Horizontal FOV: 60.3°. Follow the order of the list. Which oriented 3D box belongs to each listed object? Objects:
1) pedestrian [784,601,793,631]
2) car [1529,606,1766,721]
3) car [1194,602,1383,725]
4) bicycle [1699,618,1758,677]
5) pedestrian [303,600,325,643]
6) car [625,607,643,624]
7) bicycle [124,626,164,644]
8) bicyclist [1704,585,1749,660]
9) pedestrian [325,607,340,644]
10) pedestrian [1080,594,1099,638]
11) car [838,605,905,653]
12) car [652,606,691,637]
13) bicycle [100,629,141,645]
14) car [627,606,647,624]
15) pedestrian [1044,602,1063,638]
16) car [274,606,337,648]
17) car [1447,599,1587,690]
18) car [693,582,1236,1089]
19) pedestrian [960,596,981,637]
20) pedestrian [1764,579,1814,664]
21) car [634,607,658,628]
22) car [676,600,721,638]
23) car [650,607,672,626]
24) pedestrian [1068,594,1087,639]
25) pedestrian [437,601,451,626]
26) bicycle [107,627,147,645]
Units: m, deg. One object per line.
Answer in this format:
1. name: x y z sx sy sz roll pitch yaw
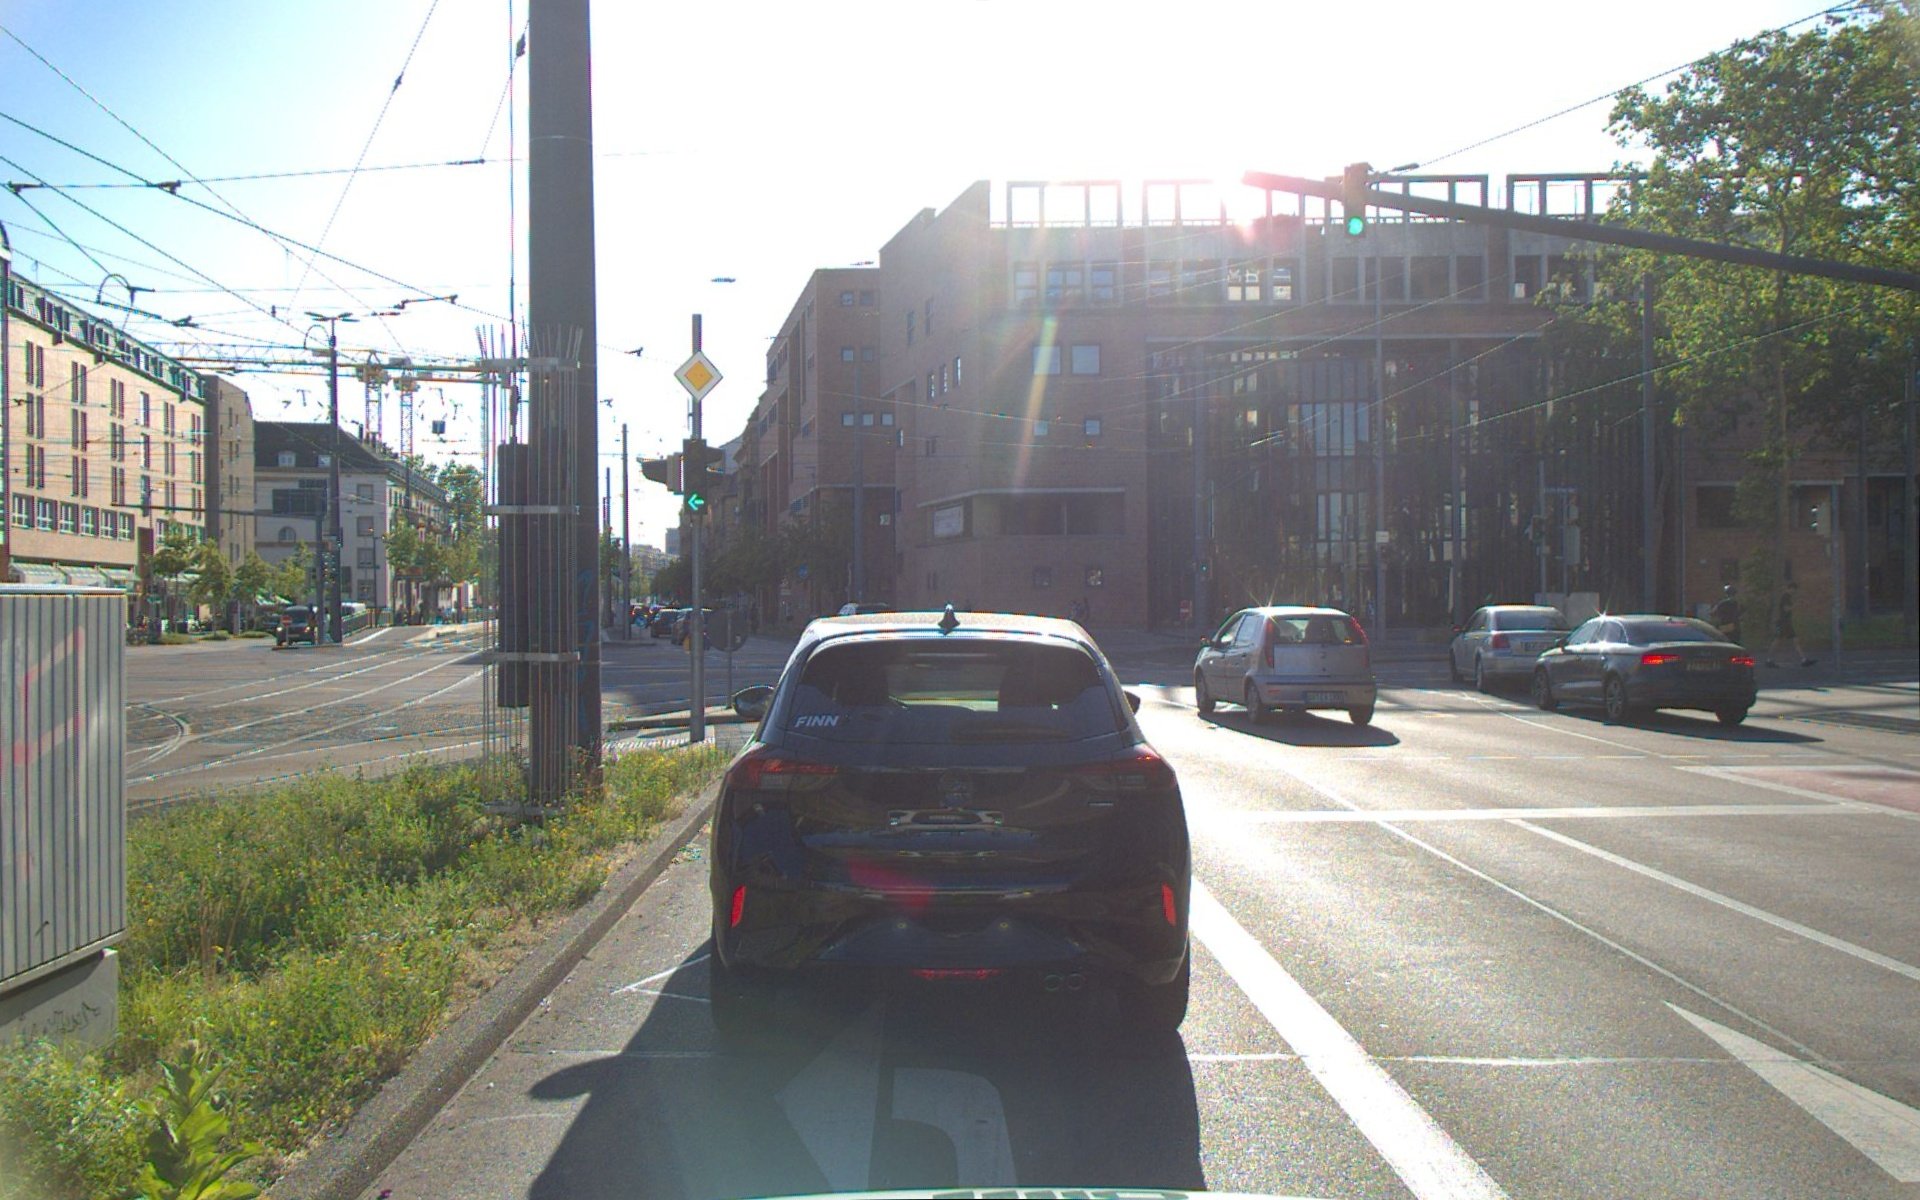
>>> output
1. pedestrian: -10.645 1.002 102.712 0.537 1.817 0.572 -1 2 -9
2. car: 9.484 0.828 23.175 1.660 1.465 4.018 0 0 0
3. car: 4.298 0.780 22.110 1.530 1.481 3.427 -1 0 -6
4. bicycle: 15.247 0.917 32.786 0.653 1.036 2.176 1 2 37
5. pedestrian: -26.797 0.884 68.586 0.708 1.757 0.593 -1 0 -11
6. car: -30.490 1.458 154.433 1.489 1.479 3.572 -1 0 -13
7. bicycle: -46.246 1.996 93.712 1.992 0.937 0.483 -1 0 -2
8. bicyclist: 15.115 0.432 32.605 0.653 1.432 0.812 1 2 37
9. pedestrian: -26.893 1.090 70.887 0.573 1.604 0.641 -1 0 -25
10. pedestrian: 5.370 0.661 68.573 0.563 1.817 0.546 -1 0 -20
11. car: -2.917 0.919 53.834 1.641 1.479 3.687 -1 0 -11
12. car: -14.427 1.050 82.666 1.691 1.479 3.685 -1 0 -13
13. bicycle: -46.265 2.038 91.139 1.992 0.860 0.483 -1 0 -2
14. car: -27.512 1.249 140.836 1.489 1.479 3.572 -1 0 -13
15. pedestrian: 3.939 0.849 69.742 0.541 1.503 0.568 -1 1 -29
16. car: -30.845 1.238 78.054 1.805 1.868 4.099 -2 0 -9
17. car: 9.906 0.754 29.691 1.659 1.500 3.985 -1 0 8
18. car: -0.010 0.717 6.881 1.638 1.528 3.690 1 0 -1
19. pedestrian: 0.467 0.723 73.443 0.632 1.817 0.683 -1 0 -24
20. pedestrian: 17.519 0.458 34.960 0.774 1.764 0.587 1 -1 7
21. car: -22.867 1.234 120.359 1.489 1.479 3.572 -1 0 -13
22. car: -10.825 0.784 68.379 1.690 1.479 3.687 -1 0 -11
23. car: -23.916 1.334 132.156 1.489 1.479 3.572 -1 0 -13
24. pedestrian: 4.757 0.663 67.169 0.563 1.817 0.546 -1 0 -20
25. pedestrian: -35.648 0.915 114.225 0.849 1.699 0.779 0 1 -22
26. bicycle: -46.588 2.005 92.520 1.992 0.937 0.483 -1 0 -2
